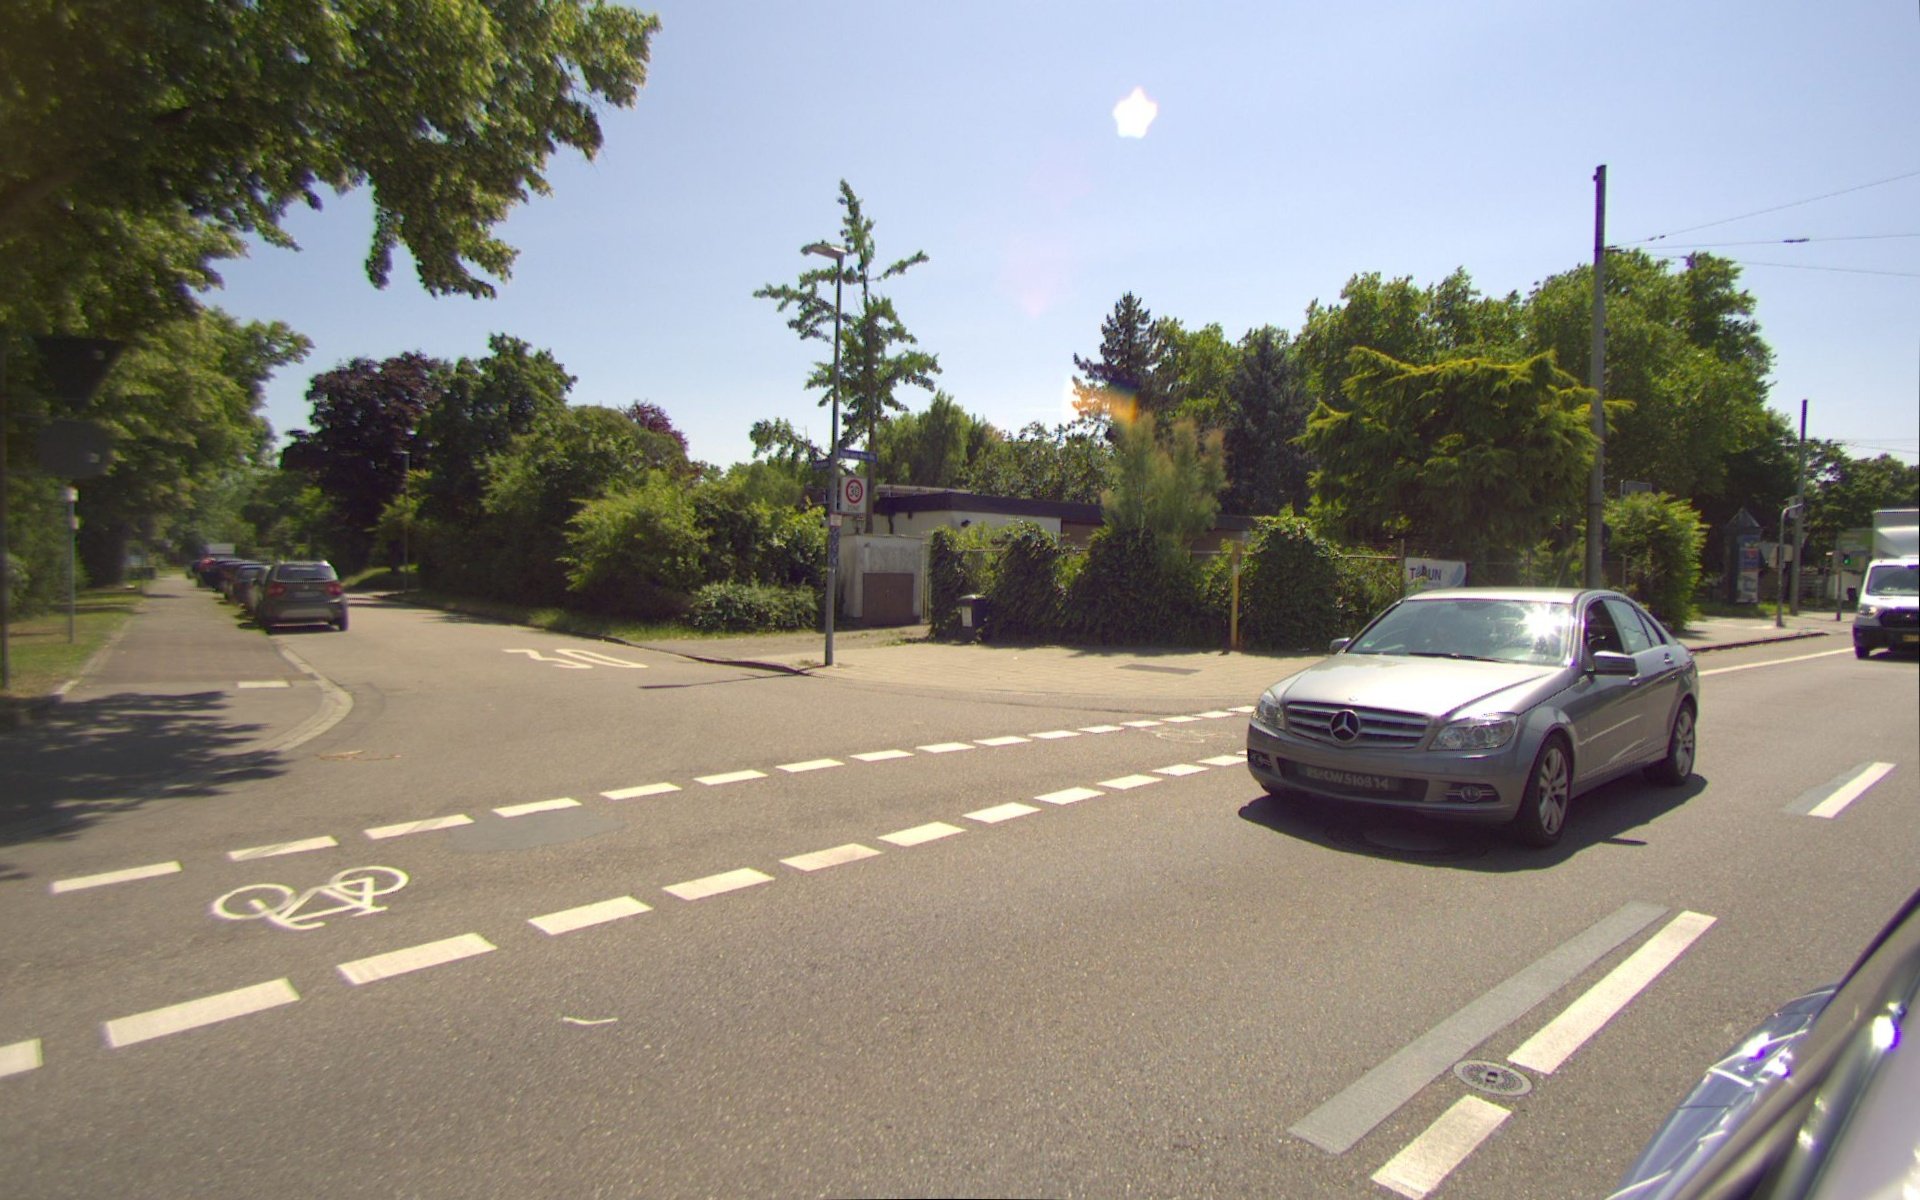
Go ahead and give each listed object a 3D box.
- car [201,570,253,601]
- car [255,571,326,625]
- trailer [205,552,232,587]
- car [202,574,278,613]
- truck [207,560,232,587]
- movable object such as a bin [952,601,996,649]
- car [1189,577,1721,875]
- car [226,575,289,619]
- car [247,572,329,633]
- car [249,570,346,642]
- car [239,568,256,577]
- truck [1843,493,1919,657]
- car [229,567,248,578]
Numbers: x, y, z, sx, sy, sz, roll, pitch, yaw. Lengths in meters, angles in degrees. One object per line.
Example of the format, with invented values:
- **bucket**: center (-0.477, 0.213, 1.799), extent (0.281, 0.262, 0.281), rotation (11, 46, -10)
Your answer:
- **car**: center (-35.943, -0.731, 49.597), extent (1.964, 1.456, 3.997), rotation (0, 1, -38)
- **car**: center (-20.368, -0.096, 30.730), extent (1.598, 1.515, 3.999), rotation (0, 1, -36)
- **trailer**: center (-76.820, -3.165, 104.815), extent (1.964, 3.554, 5.862), rotation (0, 1, -38)
- **car**: center (-28.184, -0.294, 39.595), extent (1.966, 1.456, 3.992), rotation (-1, 1, -42)
- **truck**: center (-74.955, -2.668, 102.410), extent (1.964, 2.699, 4.278), rotation (0, 1, -38)
- **movable object such as a bin**: center (0.282, 0.485, 20.067), extent (0.626, 0.914, 0.631), rotation (0, 1, -39)
- **car**: center (3.561, 0.584, 7.007), extent (3.901, 1.478, 1.903), rotation (-1, 1, -40)
- **car**: center (-24.197, -0.146, 34.796), extent (1.663, 1.432, 3.728), rotation (0, 1, -37)
- **car**: center (-17.964, 0.019, 27.004), extent (1.622, 1.524, 3.644), rotation (0, 1, -37)
- **car**: center (-15.642, 0.082, 23.816), extent (1.693, 1.560, 3.999), rotation (0, 1, -36)
- **car**: center (-107.628, -4.148, 152.859), extent (1.964, 1.456, 3.997), rotation (0, 1, -38)
- **truck**: center (22.619, -0.552, 23.137), extent (8.162, 3.319, 2.294), rotation (-1, 1, -39)
- **car**: center (-98.847, -3.791, 138.691), extent (1.964, 1.456, 3.997), rotation (0, 1, -38)
